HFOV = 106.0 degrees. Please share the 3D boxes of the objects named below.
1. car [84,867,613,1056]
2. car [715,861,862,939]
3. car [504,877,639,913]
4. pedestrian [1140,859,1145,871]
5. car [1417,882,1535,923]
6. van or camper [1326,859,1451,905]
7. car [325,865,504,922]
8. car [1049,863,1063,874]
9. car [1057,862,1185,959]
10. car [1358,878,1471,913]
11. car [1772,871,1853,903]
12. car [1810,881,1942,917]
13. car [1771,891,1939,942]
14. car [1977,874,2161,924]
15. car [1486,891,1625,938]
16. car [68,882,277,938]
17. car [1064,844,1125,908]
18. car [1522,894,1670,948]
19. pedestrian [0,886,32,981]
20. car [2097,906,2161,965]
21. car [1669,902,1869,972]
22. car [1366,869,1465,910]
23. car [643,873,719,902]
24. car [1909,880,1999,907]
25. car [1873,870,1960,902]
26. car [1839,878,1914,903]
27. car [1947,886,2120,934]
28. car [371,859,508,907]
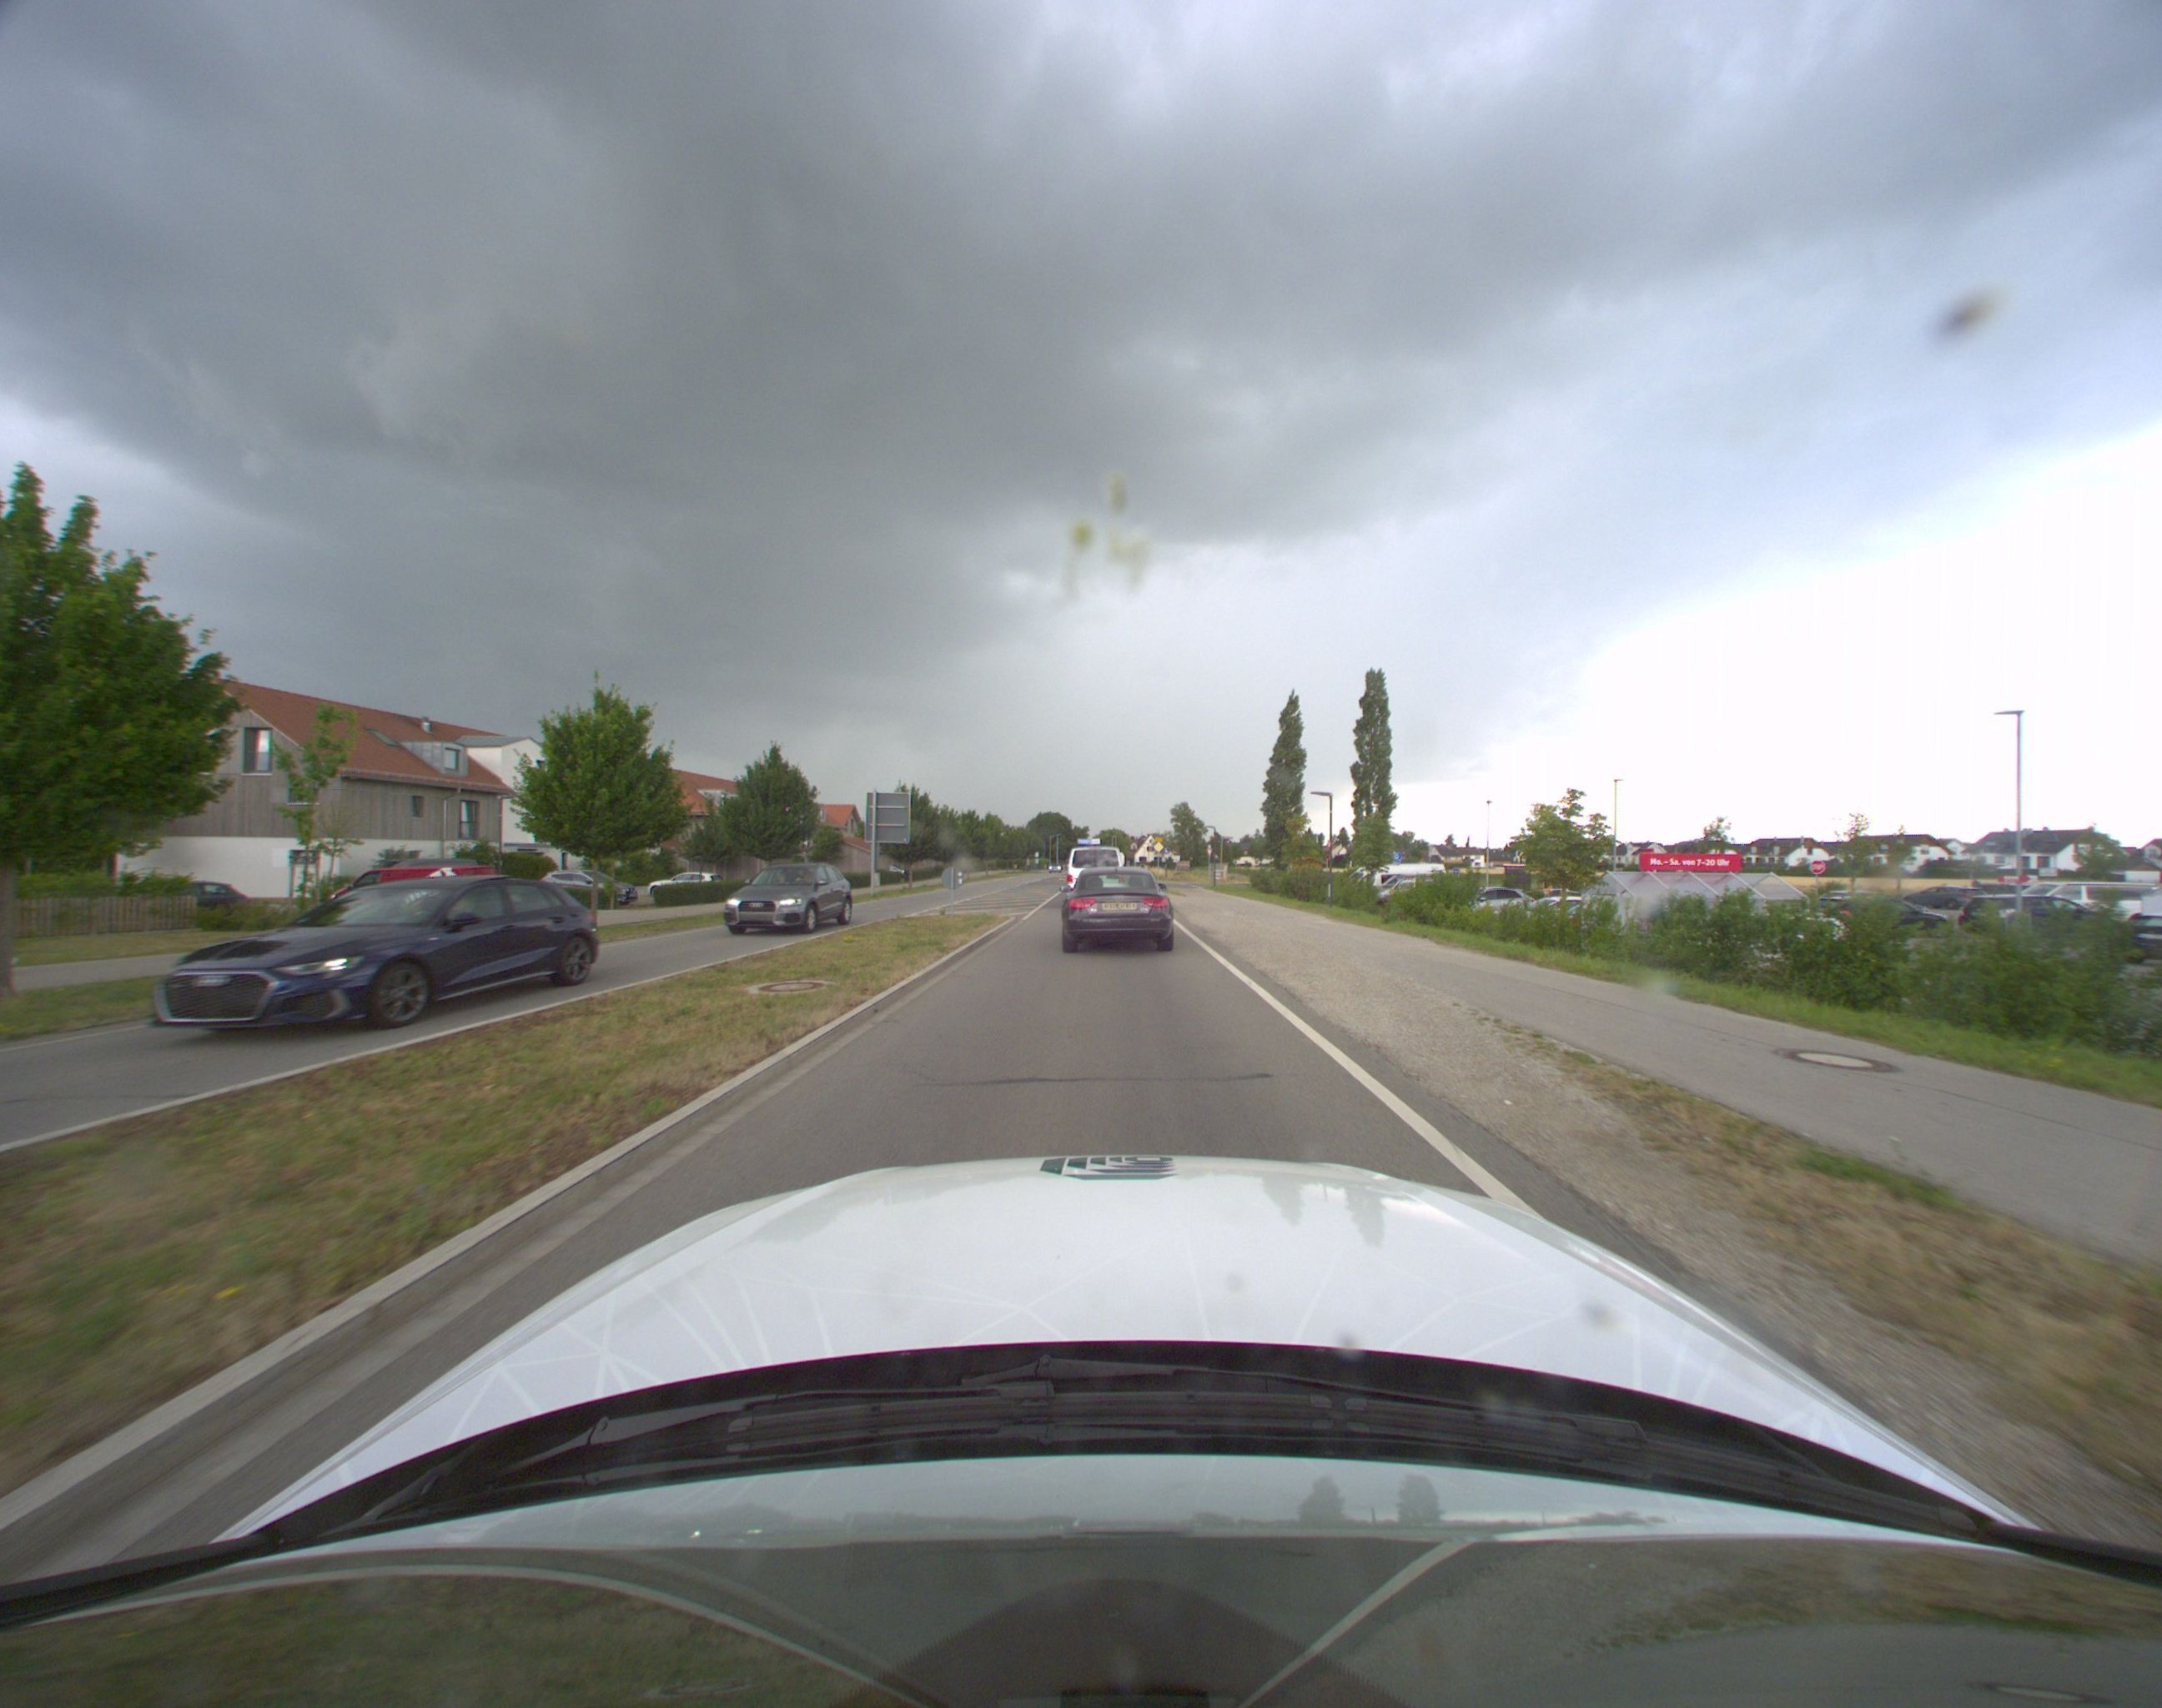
[{"bbox_3d":[-7.389,0.935,8.998,1.819,1.488,4.351,-1,0,1],"label":"car"},{"bbox_3d":[-6.725,0.977,19.216,1.819,1.582,4.217,-1,0,1],"label":"car"},{"bbox_3d":[-22.944,1.842,36.776,4.886,1.430,1.907,-1,0,2],"label":"car"},{"bbox_3d":[8.274,1.465,110.041,0.621,1.525,0.680,-1,-1,1],"label":"pedestrian"},{"bbox_3d":[17.157,2.098,35.554,4.134,1.598,2.080,-1,0,-1],"label":"car"},{"bbox_3d":[17.938,1.618,47.764,6.448,2.464,2.280,-1,0,-2],"label":"van or camper"},{"bbox_3d":[-23.158,1.339,28.397,4.880,1.816,1.909,-1,0,6],"label":"car"},{"bbox_3d":[-3.683,2.165,121.150,1.764,1.443,4.001,-1,0,1],"label":"car"},{"bbox_3d":[0.552,0.874,14.594,1.822,1.388,4.382,-2,0,-3],"label":"car"},{"bbox_3d":[17.084,2.131,41.848,5.080,1.598,1.757,-1,0,-1],"label":"car"},{"bbox_3d":[50.239,2.228,56.041,1.986,2.014,4.001,-1,0,1],"label":"car"},{"bbox_3d":[35.830,2.012,36.783,4.165,1.433,1.901,-1,0,-1],"label":"car"},{"bbox_3d":[27.563,2.225,29.136,3.967,1.618,2.003,-1,0,5],"label":"car"},{"bbox_3d":[42.809,1.937,35.195,5.175,2.014,2.009,-1,0,17],"label":"car"},{"bbox_3d":[17.385,2.195,29.970,4.134,1.538,1.675,-1,0,-1],"label":"car"},{"bbox_3d":[-27.760,1.669,25.103,1.869,1.420,4.001,-1,0,1],"label":"car"},{"bbox_3d":[0.402,0.674,26.647,1.820,1.913,3.999,1,0,0],"label":"car"},{"bbox_3d":[16.571,2.136,26.328,3.745,1.538,1.675,-1,0,-1],"label":"car"},{"bbox_3d":[-17.872,1.303,13.336,0.544,1.530,0.586,2,-1,1],"label":"pedestrian"},{"bbox_3d":[30.085,2.184,21.545,3.974,1.442,2.000,1,0,0],"label":"car"},{"bbox_3d":[17.563,2.087,20.902,3.745,1.538,1.675,-1,0,-1],"label":"car"},{"bbox_3d":[18.170,1.912,44.403,4.579,2.014,1.999,-1,0,-1],"label":"car"},{"bbox_3d":[-22.773,1.886,46.405,3.502,1.489,1.563,-1,0,0],"label":"car"},{"bbox_3d":[53.796,2.408,50.271,1.739,1.508,3.580,-1,0,1],"label":"car"},{"bbox_3d":[57.908,2.183,56.553,1.986,2.014,4.001,-1,0,1],"label":"car"},{"bbox_3d":[54.610,2.469,55.985,1.739,1.508,3.580,-1,0,1],"label":"car"},{"bbox_3d":[35.901,2.098,30.794,3.967,1.618,2.003,-1,0,5],"label":"car"},{"bbox_3d":[-30.083,1.296,38.474,1.985,2.013,5.206,3,0,4],"label":"car"}]
